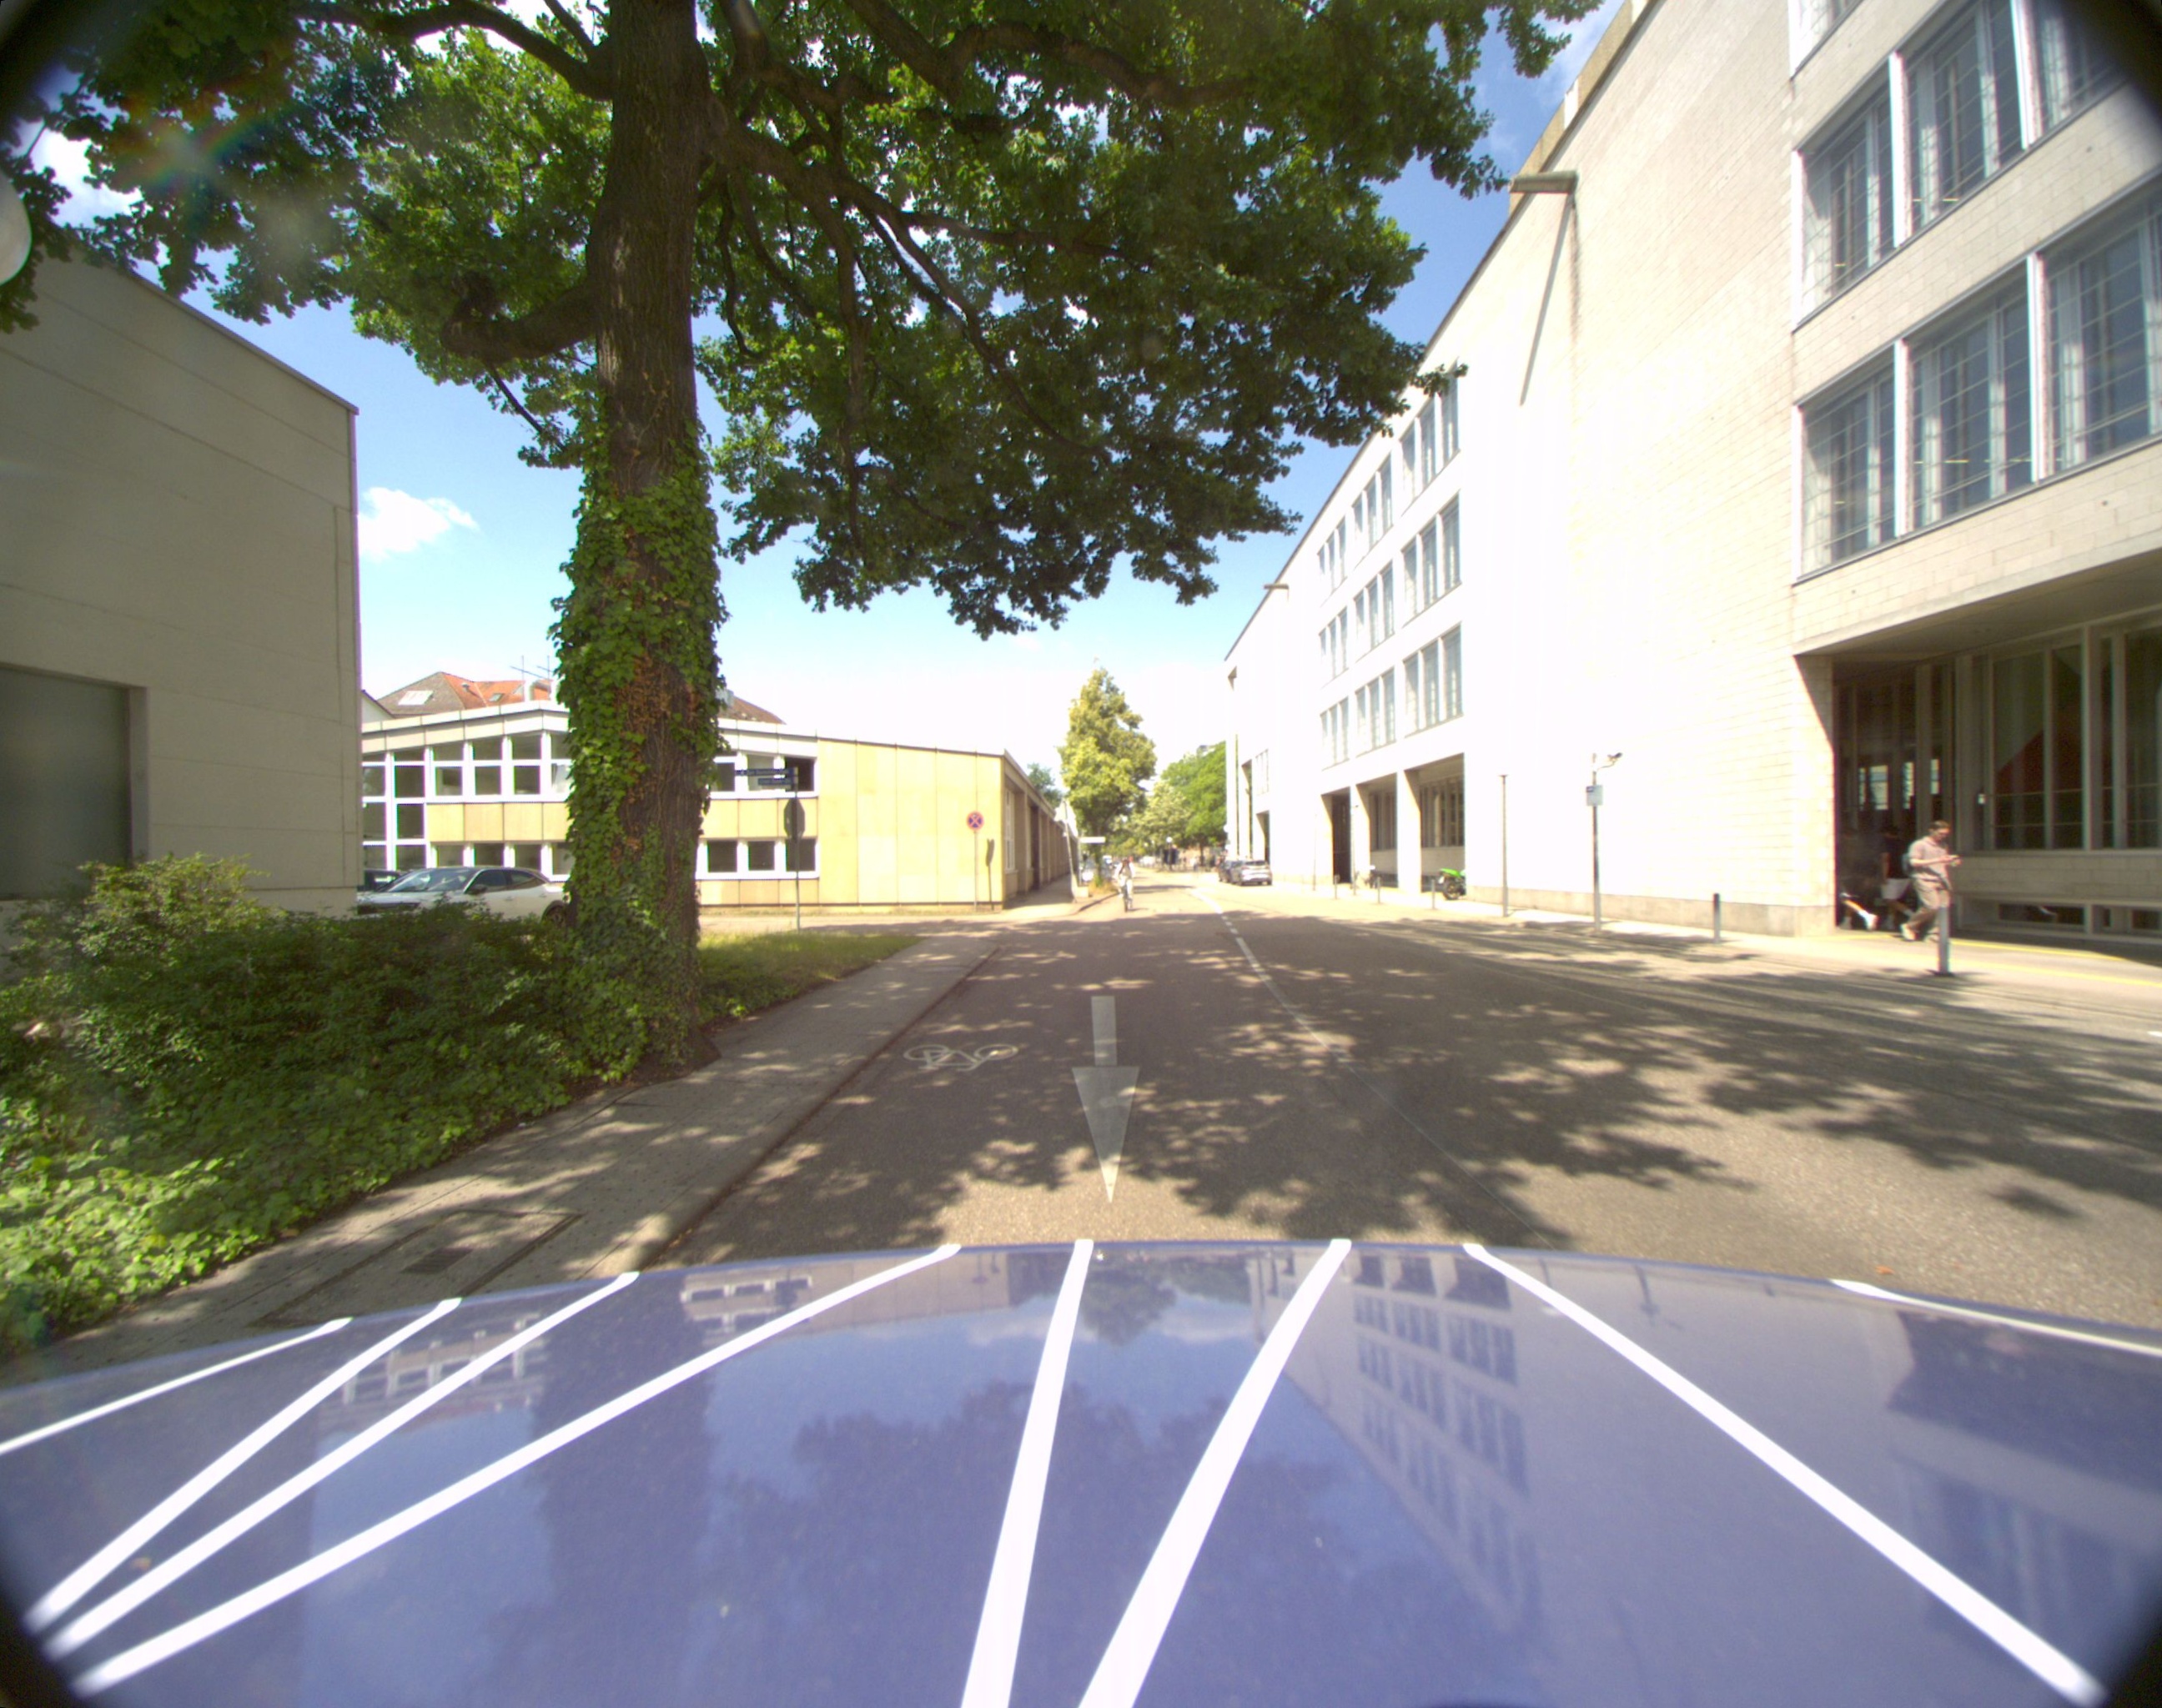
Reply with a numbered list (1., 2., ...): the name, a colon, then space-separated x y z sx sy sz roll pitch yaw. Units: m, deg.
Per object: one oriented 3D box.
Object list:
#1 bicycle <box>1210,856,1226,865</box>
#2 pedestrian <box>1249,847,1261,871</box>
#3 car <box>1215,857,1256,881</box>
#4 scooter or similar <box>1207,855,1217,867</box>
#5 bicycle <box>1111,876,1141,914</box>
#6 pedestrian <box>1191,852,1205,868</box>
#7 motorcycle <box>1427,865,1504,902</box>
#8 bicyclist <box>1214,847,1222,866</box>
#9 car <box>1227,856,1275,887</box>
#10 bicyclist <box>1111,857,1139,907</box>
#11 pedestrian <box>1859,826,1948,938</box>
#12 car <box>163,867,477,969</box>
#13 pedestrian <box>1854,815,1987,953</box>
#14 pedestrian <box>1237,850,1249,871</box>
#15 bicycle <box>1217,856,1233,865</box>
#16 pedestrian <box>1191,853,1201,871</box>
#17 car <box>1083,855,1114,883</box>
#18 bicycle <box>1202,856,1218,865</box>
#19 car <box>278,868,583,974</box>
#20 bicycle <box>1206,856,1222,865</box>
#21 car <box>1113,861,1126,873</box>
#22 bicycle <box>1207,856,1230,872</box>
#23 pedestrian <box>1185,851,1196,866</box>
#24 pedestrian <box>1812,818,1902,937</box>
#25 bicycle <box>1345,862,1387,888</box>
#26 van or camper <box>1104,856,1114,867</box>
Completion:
1. bicycle: 17.970 0.816 99.737 2.127 1.052 0.681 -2 1 -28
2. pedestrian: 15.282 0.444 66.689 0.755 2.002 1.081 -2 1 1
3. car: 9.819 0.936 48.600 1.730 1.414 4.665 -1 0 1
4. scooter or similar: 14.057 0.716 81.321 0.713 1.184 1.617 -1 1 23
5. bicycle: 1.364 1.244 23.398 0.781 1.042 1.913 -1 0 -1
6. pedestrian: 13.857 0.670 89.942 1.400 1.813 1.369 -2 0 1
7. motorcycle: 12.419 0.941 24.588 2.173 1.131 0.774 -1 0 -9
8. bicyclist: 12.960 0.223 71.831 0.732 1.766 0.762 -2 1 7
9. car: 9.561 0.930 43.036 1.730 1.526 4.405 -3 1 1
10. bicyclist: 1.338 0.846 23.199 0.781 1.478 0.695 -1 0 -1
11. pedestrian: 14.266 0.468 13.199 0.733 1.869 0.720 -2 1 1
12. car: -14.001 1.078 14.385 1.829 1.569 4.000 -1 0 2
13. pedestrian: 12.794 0.434 11.626 0.850 2.002 1.066 -1 1 -1
14. pedestrian: 14.247 0.568 66.780 0.755 1.770 1.081 -2 0 1
15. bicycle: 18.658 0.816 98.305 2.127 1.052 0.681 -2 1 -28
16. pedestrian: 11.556 0.813 76.451 0.760 1.715 1.236 -4 1 12
17. car: 0.986 0.822 43.976 1.760 1.559 3.817 0 0 1
18. bicycle: 17.245 0.864 101.700 2.127 1.052 0.621 -2 1 -28
19. car: -10.998 1.033 13.329 1.671 1.468 4.182 -1 0 1
20. bicycle: 17.611 0.831 100.333 2.127 1.052 0.621 -2 1 -28
21. car: 6.175 2.115 123.198 1.998 1.805 4.000 -1 0 2
22. bicycle: 12.979 0.928 71.839 2.059 1.485 0.798 -2 1 7
23. pedestrian: 15.262 0.617 105.995 1.400 2.002 1.369 -2 0 1
24. pedestrian: 13.536 0.396 13.277 0.700 2.002 0.830 -2 1 1
25. bicycle: 12.653 0.946 33.768 1.643 1.080 0.608 -2 1 -4
26. van or camper: 6.457 1.732 175.960 1.997 2.348 4.385 -1 0 7
